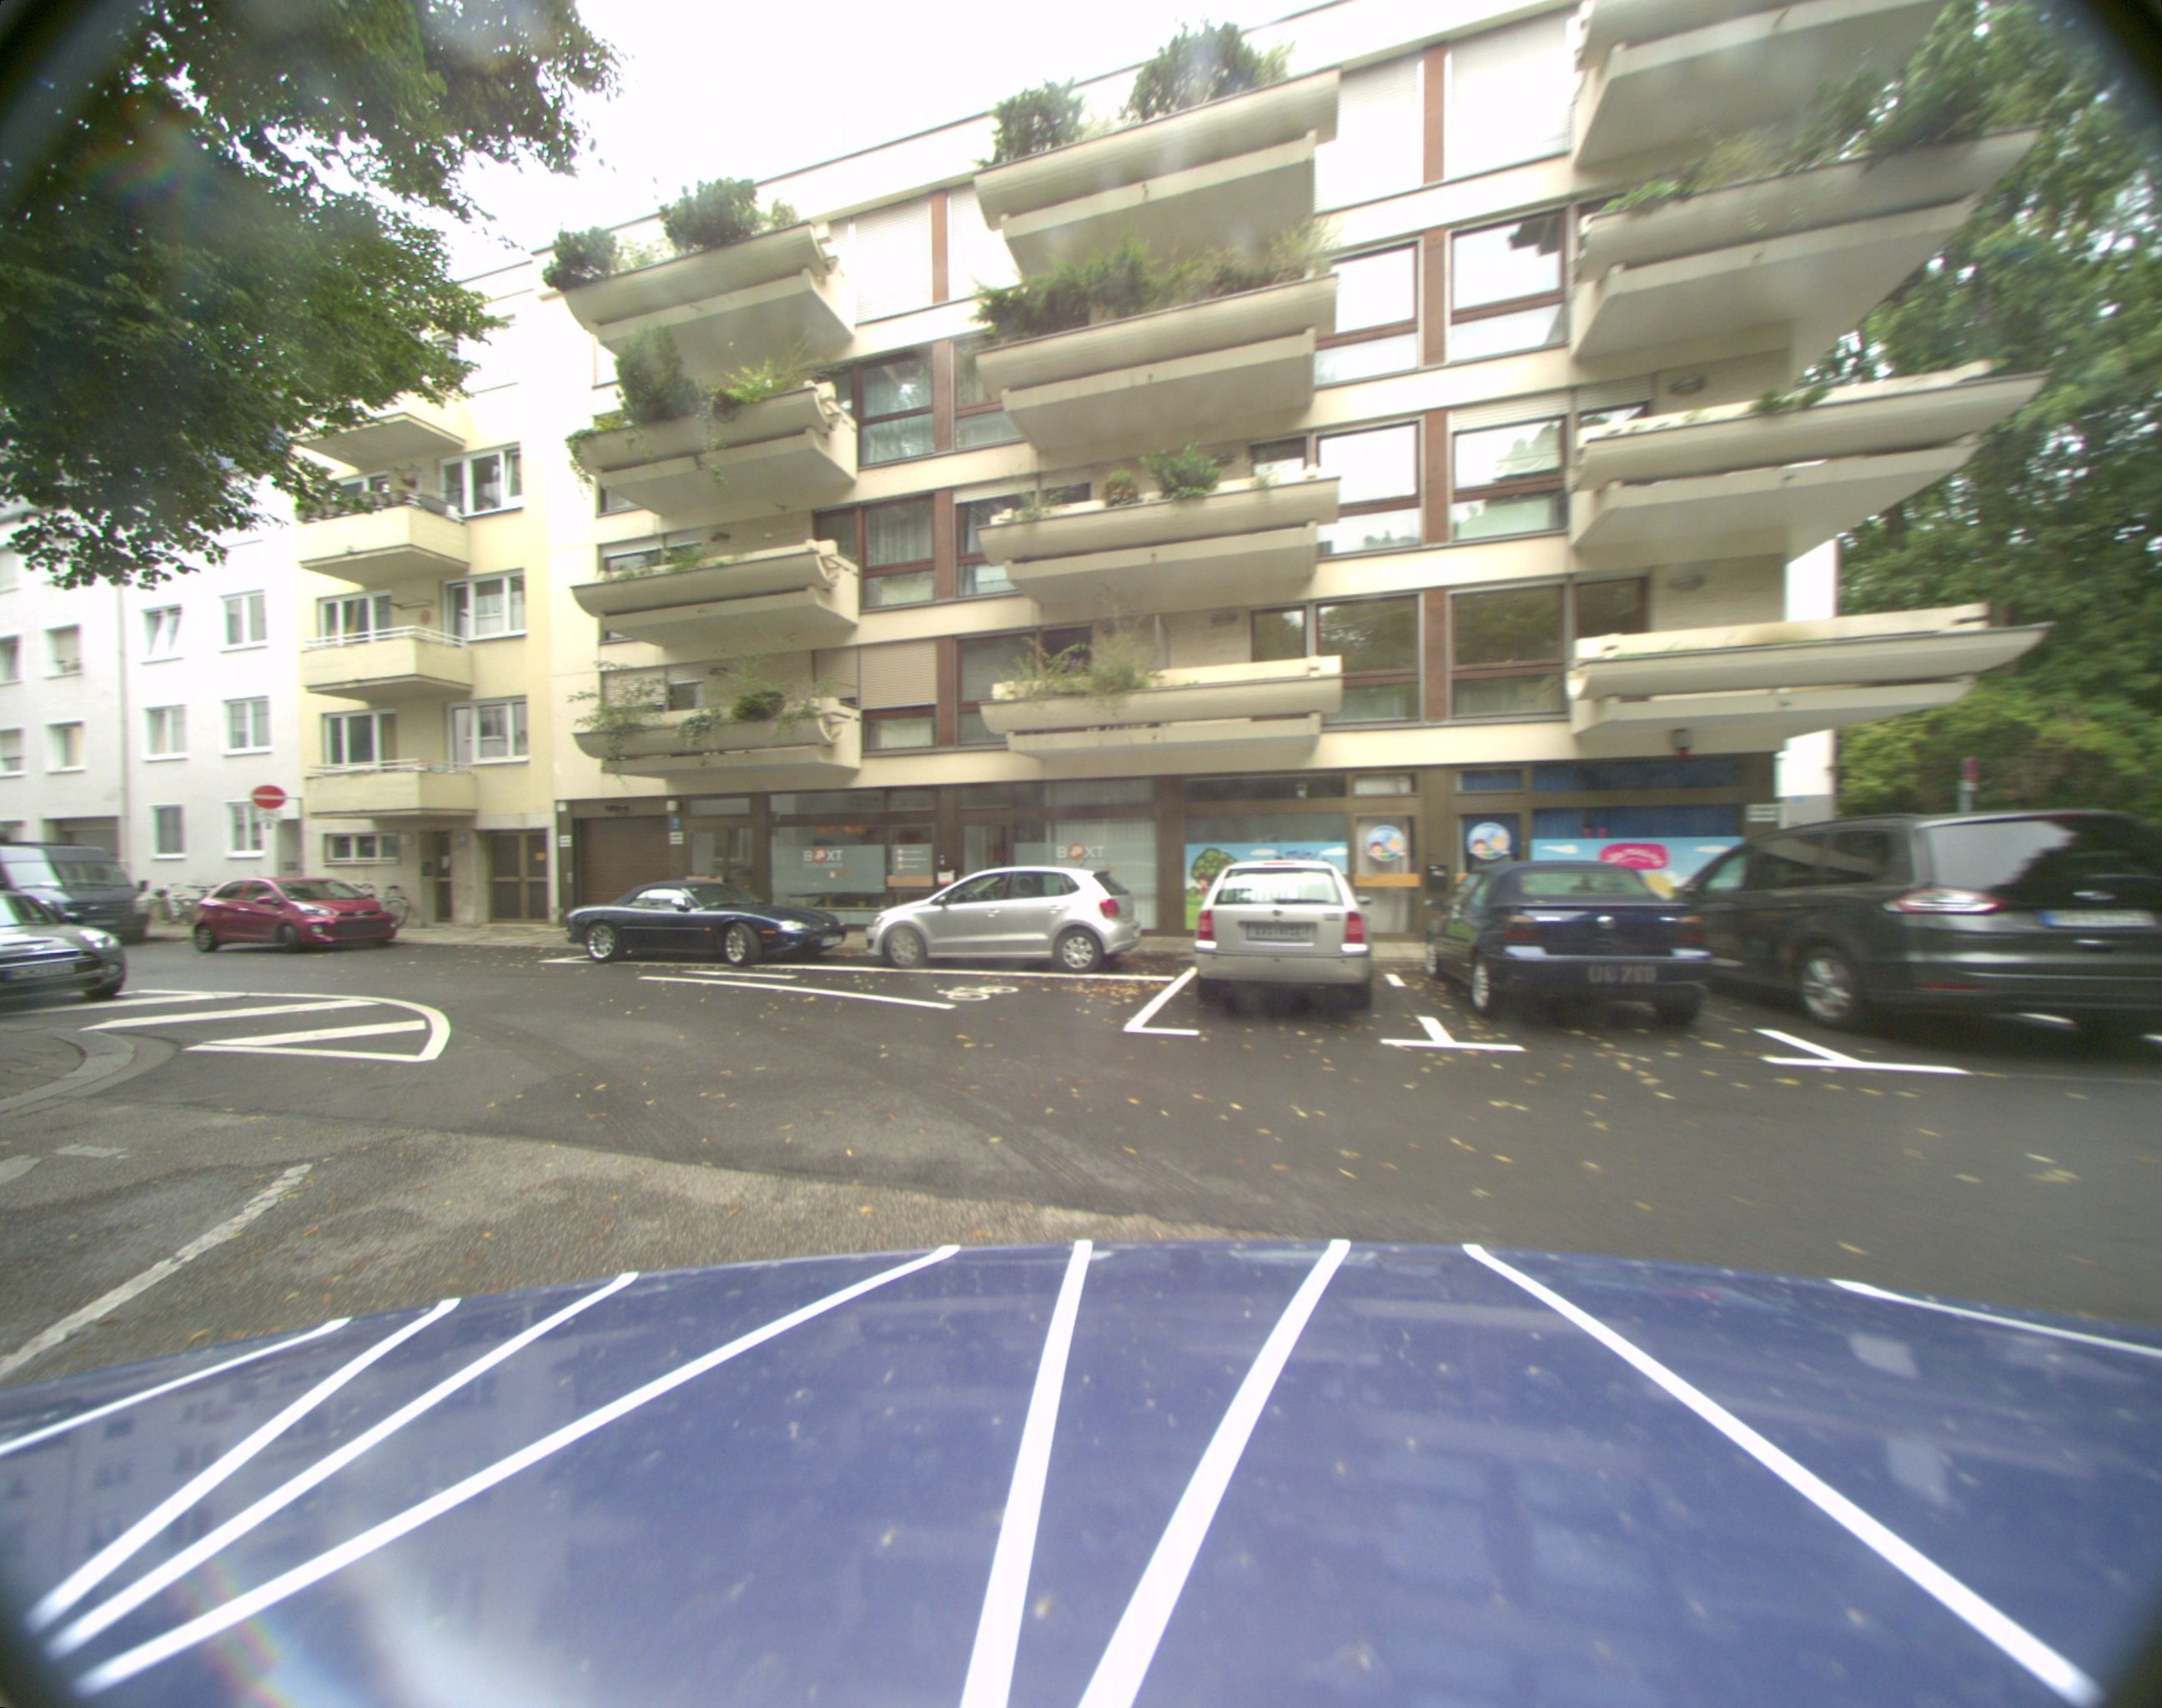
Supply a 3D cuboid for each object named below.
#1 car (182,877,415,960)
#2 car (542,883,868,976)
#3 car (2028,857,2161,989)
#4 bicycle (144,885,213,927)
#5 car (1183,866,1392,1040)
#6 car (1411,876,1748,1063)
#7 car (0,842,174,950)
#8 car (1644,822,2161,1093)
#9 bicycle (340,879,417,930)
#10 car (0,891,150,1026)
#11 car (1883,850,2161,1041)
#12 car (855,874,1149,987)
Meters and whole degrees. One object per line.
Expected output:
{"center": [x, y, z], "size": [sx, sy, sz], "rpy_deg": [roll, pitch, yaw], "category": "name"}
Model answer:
{"center": [-15.772, 1.241, 15.361], "size": [3.702, 1.488, 1.626], "rpy_deg": [-1, 0, 15], "category": "car"}
{"center": [-5.944, 1.129, 12.127], "size": [4.608, 1.270, 1.805], "rpy_deg": [-1, -1, 15], "category": "car"}
{"center": [12.880, 0.750, 7.733], "size": [1.833, 1.470, 4.004], "rpy_deg": [0, -2, 9], "category": "car"}
{"center": [-24.605, 1.408, 20.713], "size": [1.866, 1.091, 0.465], "rpy_deg": [-1, 2, 17], "category": "bicycle"}
{"center": [2.313, 0.902, 8.582], "size": [1.718, 1.446, 4.248], "rpy_deg": [-1, -2, 15], "category": "car"}
{"center": [4.637, 0.922, 7.809], "size": [1.714, 1.359, 4.078], "rpy_deg": [-1, -1, 15], "category": "car"}
{"center": [-24.192, 0.913, 17.621], "size": [5.379, 2.265, 2.028], "rpy_deg": [0, -1, 16], "category": "car"}
{"center": [7.129, 0.690, 6.780], "size": [1.899, 1.673, 4.239], "rpy_deg": [-1, -2, 14], "category": "car"}
{"center": [-16.690, 1.187, 18.056], "size": [1.756, 1.142, 0.469], "rpy_deg": [-1, 2, 16], "category": "bicycle"}
{"center": [-13.904, 1.222, 9.294], "size": [3.992, 1.432, 1.751], "rpy_deg": [-1, 0, 17], "category": "car"}
{"center": [9.413, 0.726, 6.372], "size": [1.832, 1.470, 4.006], "rpy_deg": [0, -2, 14], "category": "car"}
{"center": [-1.073, 1.005, 10.773], "size": [3.826, 1.413, 1.568], "rpy_deg": [-1, -1, 15], "category": "car"}
